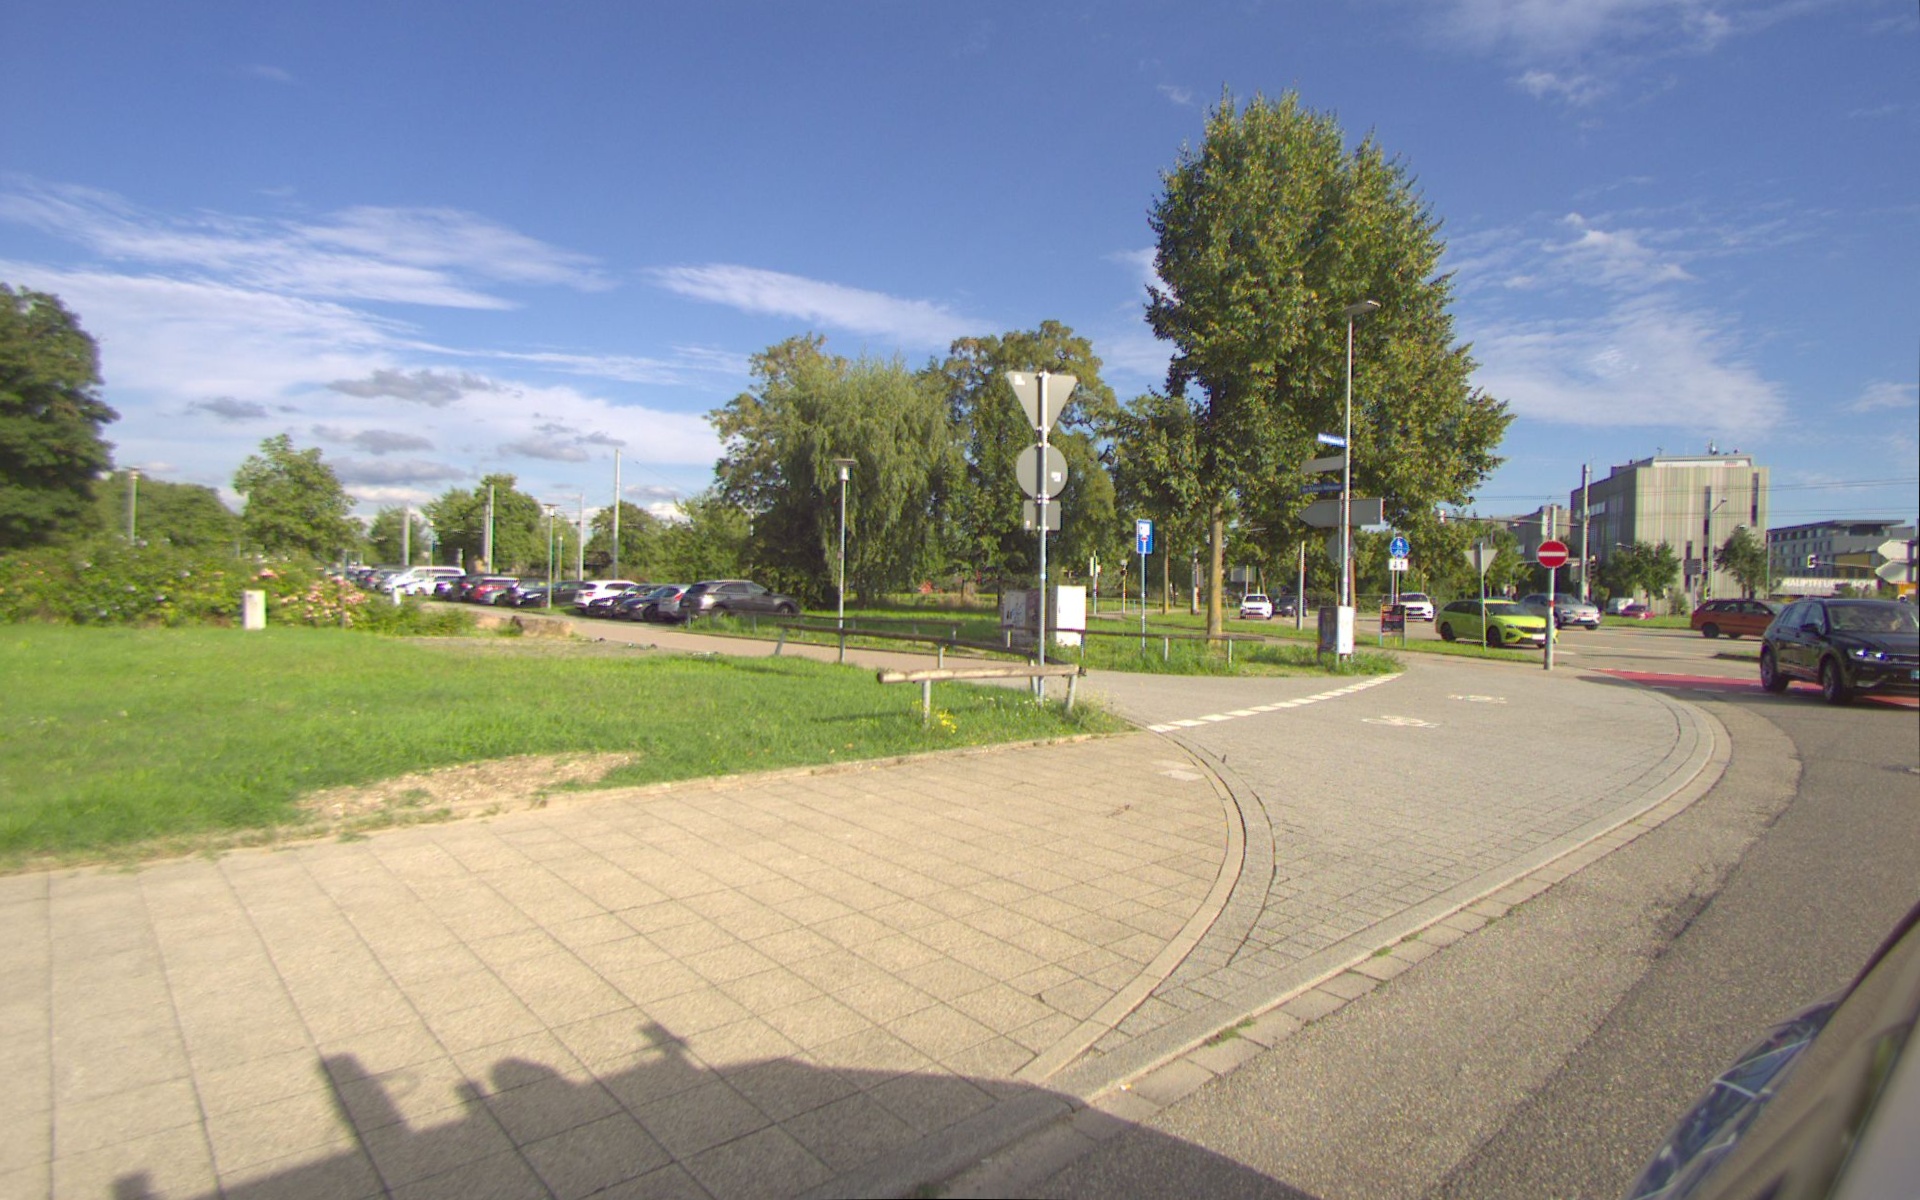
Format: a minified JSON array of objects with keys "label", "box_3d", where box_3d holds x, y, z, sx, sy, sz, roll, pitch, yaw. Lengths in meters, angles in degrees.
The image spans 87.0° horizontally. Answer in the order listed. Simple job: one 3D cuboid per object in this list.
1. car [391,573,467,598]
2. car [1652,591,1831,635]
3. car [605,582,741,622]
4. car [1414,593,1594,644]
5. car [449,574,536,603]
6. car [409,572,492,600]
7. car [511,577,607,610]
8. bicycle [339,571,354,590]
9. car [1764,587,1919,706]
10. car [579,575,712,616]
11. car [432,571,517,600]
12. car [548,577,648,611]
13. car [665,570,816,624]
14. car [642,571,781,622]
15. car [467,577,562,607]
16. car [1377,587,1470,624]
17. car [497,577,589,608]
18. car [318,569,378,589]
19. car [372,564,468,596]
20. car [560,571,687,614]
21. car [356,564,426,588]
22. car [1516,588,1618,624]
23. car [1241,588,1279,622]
[{"label":"car","box_3d":[-34.300,-0.930,65.447,1.994,1.591,3.936,2,1,44]},{"label":"car","box_3d":[29.324,0.434,38.183,2.258,1.543,4.878,0,0,-23]},{"label":"car","box_3d":[-11.482,0.054,40.633,4.822,1.518,2.085,0,0,-39]},{"label":"car","box_3d":[17.185,0.512,32.445,2.001,1.487,5.996,0,0,-7]},{"label":"car","box_3d":[-25.359,-0.604,54.977,3.935,1.543,1.711,0,0,-45]},{"label":"car","box_3d":[-29.975,-0.811,59.543,1.994,1.591,3.936,2,1,44]},{"label":"car","box_3d":[-19.576,-0.307,49.520,3.935,1.543,1.995,0,0,-45]},{"label":"bicycle","box_3d":[-39.143,-1.259,64.584,0.627,1.179,1.758,0,0,-38]},{"label":"car","box_3d":[14.639,0.647,16.142,1.802,1.679,4.209,0,0,24]},{"label":"car","box_3d":[-13.115,-0.195,42.356,4.822,1.616,2.271,0,0,-39]},{"label":"car","box_3d":[-27.598,-0.817,57.639,1.994,1.591,3.936,2,1,44]},{"label":"car","box_3d":[-16.854,-0.282,47.200,3.935,1.543,1.995,0,0,-45]},{"label":"car","box_3d":[-7.849,-0.127,36.364,4.824,1.822,2.270,0,0,-40]},{"label":"car","box_3d":[-9.517,-0.143,38.913,4.705,1.822,2.271,0,0,-39]},{"label":"car","box_3d":[-23.526,-0.414,53.492,4.164,1.543,1.995,0,0,-45]},{"label":"car","box_3d":[24.825,0.245,54.530,2.433,1.890,6.246,0,0,4]},{"label":"car","box_3d":[-21.240,-0.376,51.641,3.935,1.543,1.995,0,0,-45]},{"label":"car","box_3d":[-51.180,-1.781,84.700,1.994,1.591,3.936,2,1,44]},{"label":"car","box_3d":[-36.344,-1.335,68.188,1.994,2.075,5.344,2,1,44]},{"label":"car","box_3d":[-14.782,-0.328,44.611,4.822,1.822,2.358,0,0,-39]},{"label":"car","box_3d":[-40.255,-1.708,71.603,1.994,1.591,3.936,2,1,44]},{"label":"car","box_3d":[27.322,0.242,45.724,1.961,1.504,4.265,1,1,-1]},{"label":"car","box_3d":[17.367,0.263,58.430,1.816,1.890,5.370,0,0,19]}]
